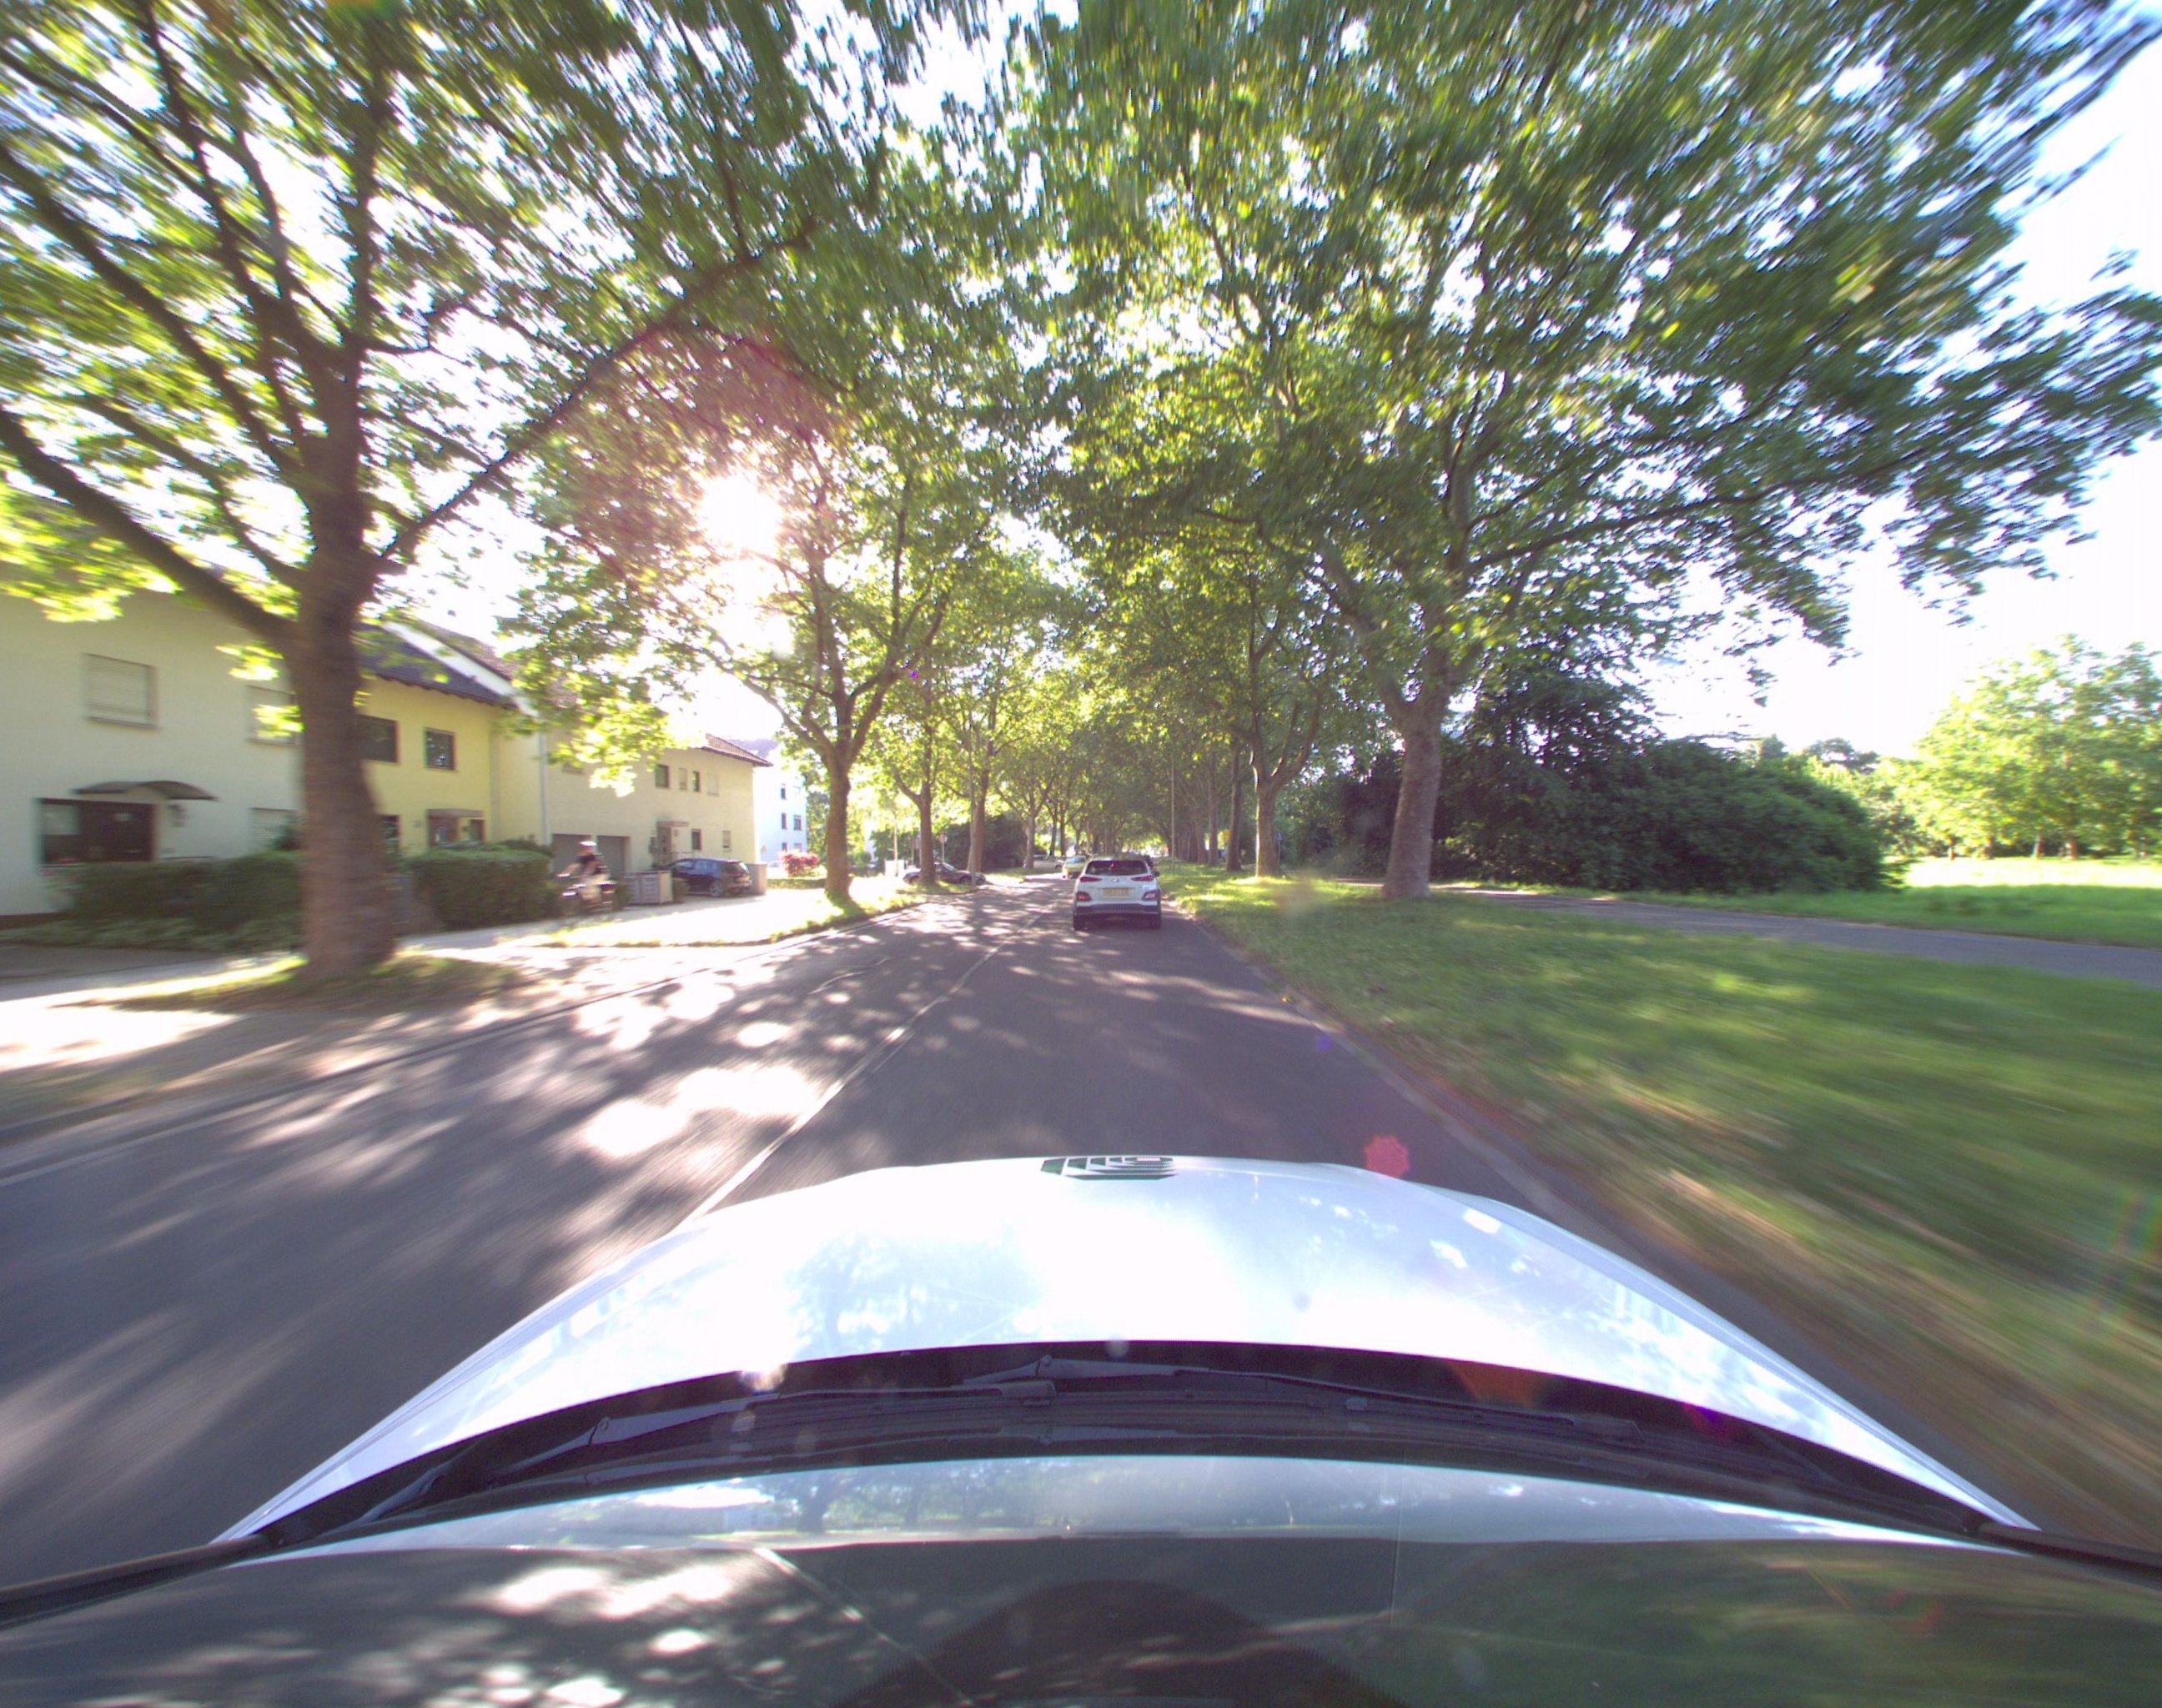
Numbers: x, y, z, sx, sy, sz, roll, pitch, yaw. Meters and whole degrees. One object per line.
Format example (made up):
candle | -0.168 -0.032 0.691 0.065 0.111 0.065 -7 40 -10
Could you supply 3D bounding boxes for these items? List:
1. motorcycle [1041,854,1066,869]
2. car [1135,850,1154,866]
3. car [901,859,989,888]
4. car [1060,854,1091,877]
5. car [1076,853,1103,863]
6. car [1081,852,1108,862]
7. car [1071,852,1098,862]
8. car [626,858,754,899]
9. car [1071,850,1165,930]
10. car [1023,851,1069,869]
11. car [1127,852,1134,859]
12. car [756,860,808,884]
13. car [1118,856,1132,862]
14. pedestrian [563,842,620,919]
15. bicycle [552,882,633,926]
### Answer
motorcycle | -2.612 0.694 78.547 2.378 1.388 0.648 -1 0 -1
car | 6.719 0.415 86.310 1.670 1.696 3.745 -1 0 1
car | -6.396 0.892 38.668 3.811 1.316 1.791 0 0 2
car | -0.313 0.746 54.910 1.776 1.512 3.842 -1 0 4
car | 1.222 0.542 120.942 3.973 1.424 1.809 -1 0 1
car | 2.043 0.482 125.966 3.966 1.470 1.812 -1 0 6
car | 0.589 0.474 123.733 3.969 1.520 1.811 -1 0 4
car | -14.918 0.914 31.220 3.970 1.464 1.902 -1 0 3
car | 0.712 0.720 18.072 1.830 1.556 3.998 -1 0 -1
car | -3.216 0.572 76.136 4.169 1.584 2.000 -1 0 0
car | 9.956 0.337 163.906 1.529 1.459 3.187 -1 0 3
car | -20.380 1.190 55.670 1.986 1.575 4.001 -1 0 1
car | 12.478 1.433 232.140 3.973 1.772 2.000 -1 -1 0
pedestrian | -11.294 0.595 18.829 0.614 1.716 1.066 -1 0 2
bicycle | -11.259 1.139 18.858 0.468 0.880 2.157 -1 0 2
